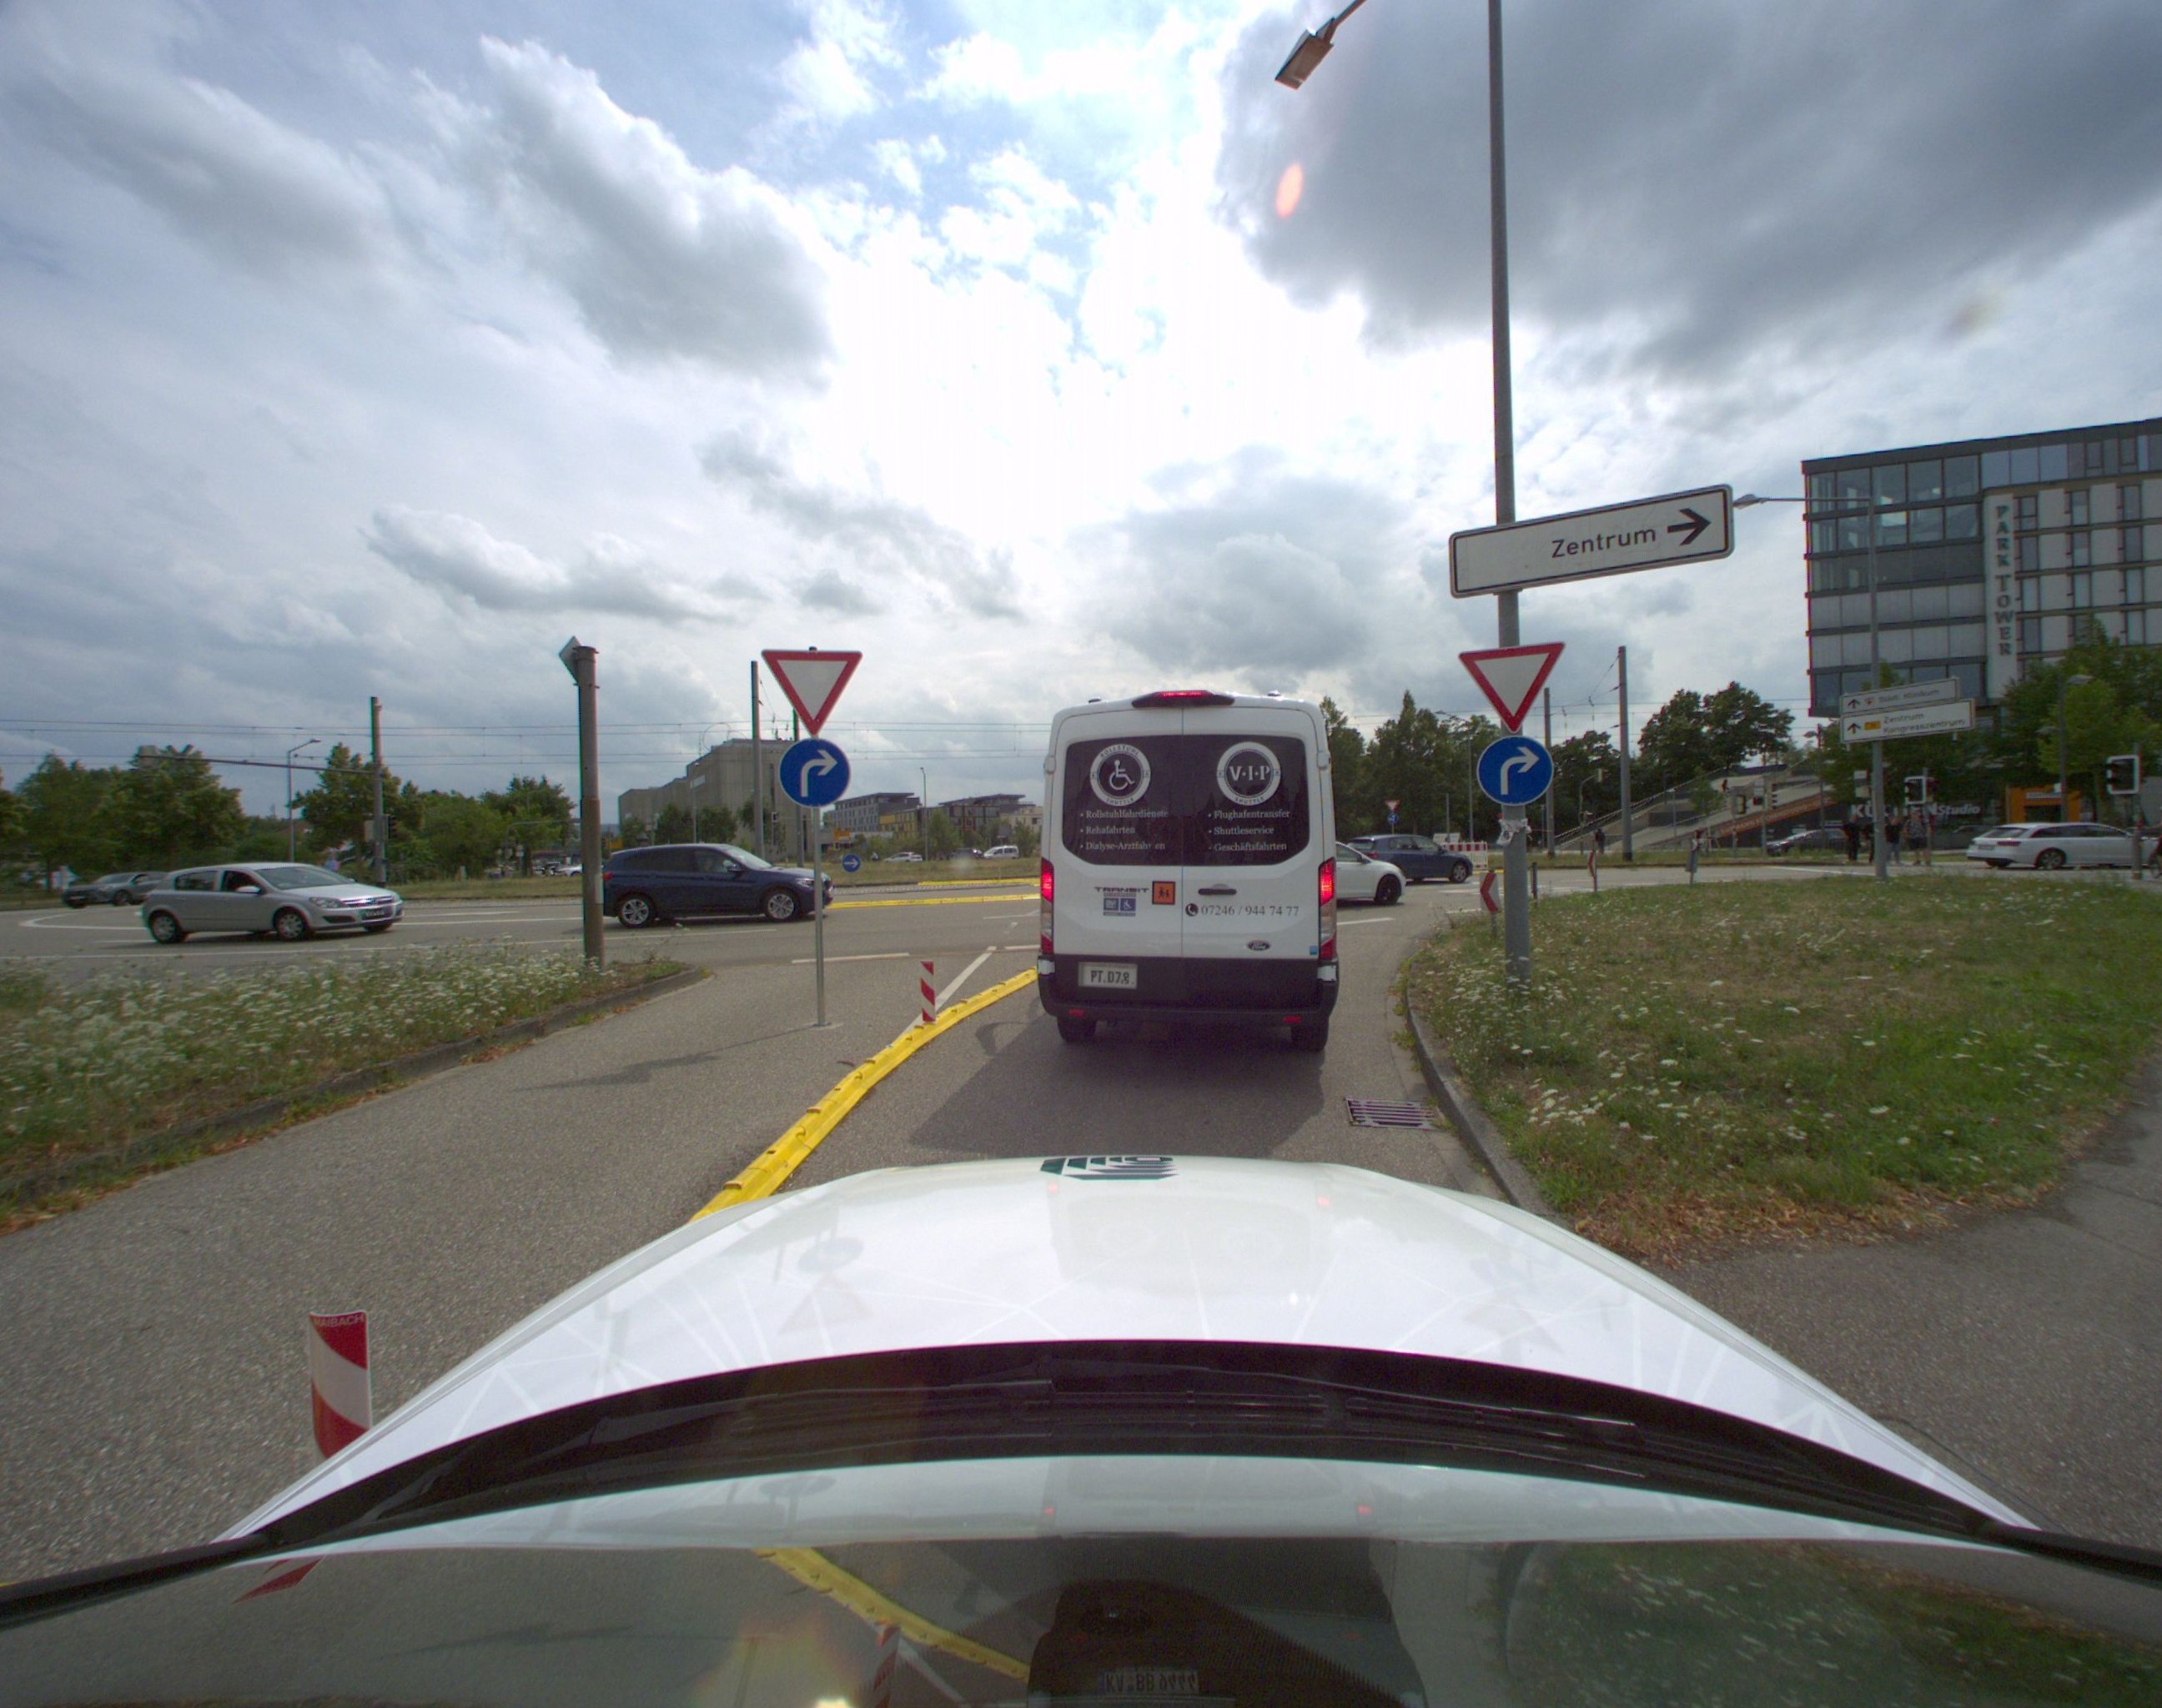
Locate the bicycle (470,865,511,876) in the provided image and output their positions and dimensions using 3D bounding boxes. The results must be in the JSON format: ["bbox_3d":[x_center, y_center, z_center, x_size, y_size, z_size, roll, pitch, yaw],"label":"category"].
[{"bbox_3d":[-51.388,1.439,70.895,0.853,0.855,2.676,-2,1,37],"label":"bicycle"}]

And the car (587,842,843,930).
[{"bbox_3d":[-7.224,0.591,16.487,4.355,1.534,1.728,-2,0,-9],"label":"car"}]

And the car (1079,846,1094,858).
[{"bbox_3d":[0.698,-0.244,104.397,1.820,1.463,4.001,-1,0,2],"label":"car"}]

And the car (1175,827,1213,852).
[{"bbox_3d":[10.877,-1.353,78.543,2.030,2.279,4.134,-2,1,-18],"label":"car"}]

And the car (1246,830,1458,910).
[{"bbox_3d":[5.901,0.295,17.711,4.265,1.497,1.788,-2,1,-23],"label":"car"}]

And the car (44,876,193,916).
[{"bbox_3d":[-45.425,1.952,38.601,2.057,1.551,4.462,-2,1,-8],"label":"car"}]

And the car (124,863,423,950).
[{"bbox_3d":[-15.557,0.978,15.807,4.223,1.462,1.834,-2,1,7],"label":"car"}]

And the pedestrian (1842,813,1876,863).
[{"bbox_3d":[28.070,-0.576,29.399,0.684,1.781,0.554,-1,1,7],"label":"pedestrian"}]

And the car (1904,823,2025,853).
[{"bbox_3d":[46.514,-0.855,42.961,3.957,1.458,1.856,-1,1,15],"label":"car"}]

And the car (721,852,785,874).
[{"bbox_3d":[-26.618,0.738,66.233,4.380,1.665,1.914,-2,0,-44],"label":"car"}]

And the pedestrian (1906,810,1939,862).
[{"bbox_3d":[29.446,-0.640,28.504,0.575,1.781,0.554,-1,1,8],"label":"pedestrian"}]

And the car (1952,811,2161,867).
[{"bbox_3d":[31.265,-0.467,25.777,4.701,1.618,2.008,-2,0,15],"label":"car"}]

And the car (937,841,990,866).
[{"bbox_3d":[-9.963,-0.018,69.249,3.954,2.014,2.010,-1,-1,19],"label":"car"}]

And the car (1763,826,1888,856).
[{"bbox_3d":[40.210,-0.715,44.108,4.688,1.458,1.856,-1,1,14],"label":"car"}]

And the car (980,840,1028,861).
[{"bbox_3d":[-7.635,-0.388,80.558,4.370,2.014,1.983,0,-1,-26],"label":"car"}]

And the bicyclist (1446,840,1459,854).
[{"bbox_3d":[24.705,-0.453,54.162,0.650,0.884,0.611,-2,-1,40],"label":"bicyclist"}]

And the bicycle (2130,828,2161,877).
[{"bbox_3d":[27.504,-0.052,20.610,0.781,1.168,2.054,-2,0,42],"label":"bicycle"}]

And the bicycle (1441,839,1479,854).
[{"bbox_3d":[25.061,-0.458,53.857,2.176,0.938,0.618,-1,-1,40],"label":"bicycle"}]

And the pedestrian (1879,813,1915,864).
[{"bbox_3d":[28.739,-0.537,28.681,0.684,1.781,0.554,-1,1,7],"label":"pedestrian"}]

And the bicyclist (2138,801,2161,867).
[{"bbox_3d":[27.340,-0.516,20.436,0.781,1.627,1.055,-2,0,41],"label":"bicyclist"}]

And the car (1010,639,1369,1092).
[{"bbox_3d":[1.092,0.068,7.789,2.113,2.697,5.647,-2,0,9],"label":"car"}]

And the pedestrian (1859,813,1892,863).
[{"bbox_3d":[28.687,-0.588,29.397,0.628,1.781,0.554,-1,1,8],"label":"pedestrian"}]

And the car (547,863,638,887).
[{"bbox_3d":[-34.684,1.476,57.978,1.974,1.482,5.216,-1,0,30],"label":"car"}]

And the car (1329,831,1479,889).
[{"bbox_3d":[9.530,0.136,23.973,4.125,1.497,1.786,-2,1,-26],"label":"car"}]

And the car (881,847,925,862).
[{"bbox_3d":[-17.770,0.075,81.385,3.951,1.463,1.843,-1,-1,24],"label":"car"}]

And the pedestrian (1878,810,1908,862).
[{"bbox_3d":[29.267,-0.650,29.359,0.526,1.862,0.554,-1,1,8],"label":"pedestrian"}]
